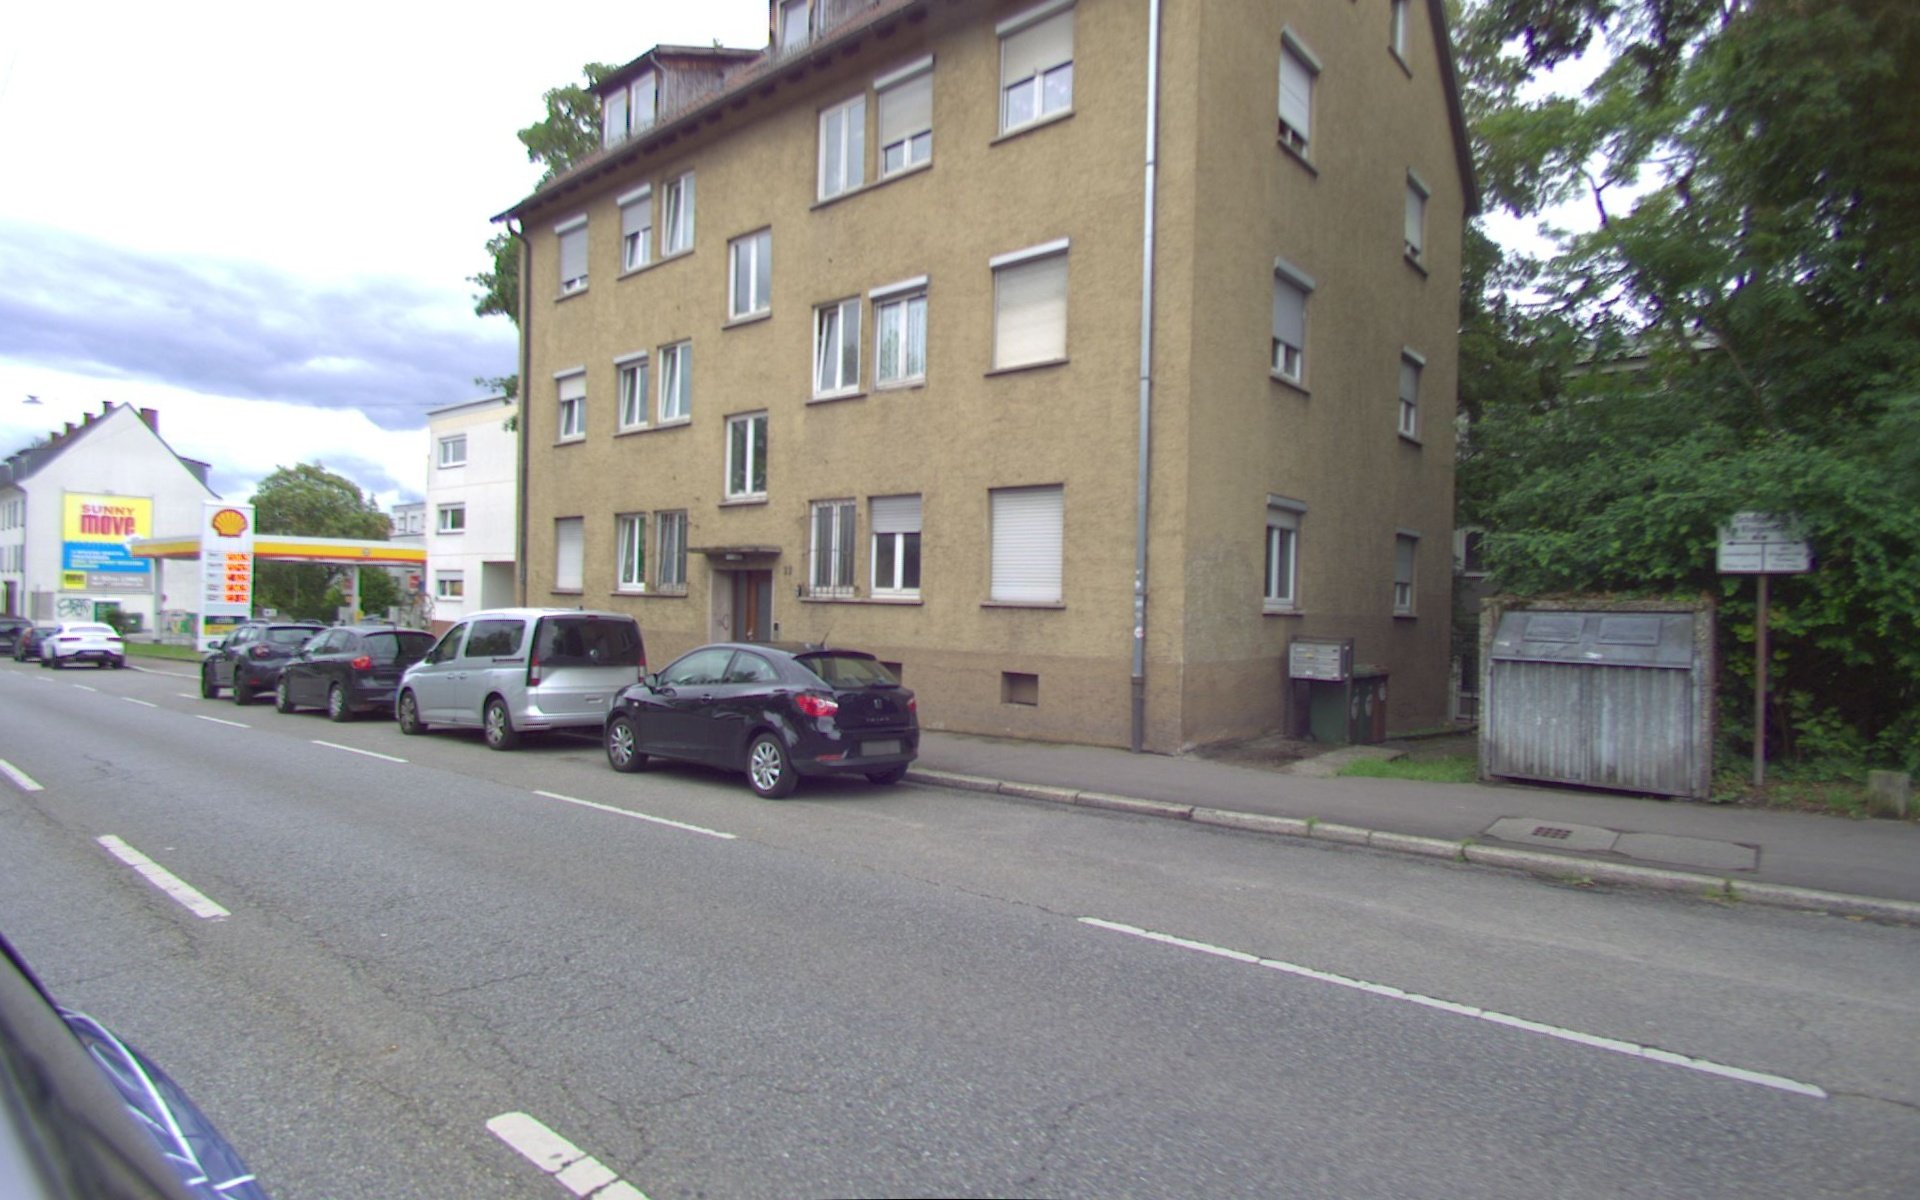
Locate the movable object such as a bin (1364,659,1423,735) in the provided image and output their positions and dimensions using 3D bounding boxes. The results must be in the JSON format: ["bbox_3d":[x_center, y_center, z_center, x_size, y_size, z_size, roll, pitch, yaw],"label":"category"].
[{"bbox_3d":[5.915,1.308,13.798,0.579,0.981,0.602,-1,-2,41],"label":"movable object such as a bin"}]

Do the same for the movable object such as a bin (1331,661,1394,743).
[{"bbox_3d":[5.121,1.282,12.880,0.579,0.981,0.602,-1,-2,41],"label":"movable object such as a bin"}]

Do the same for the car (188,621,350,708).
[{"bbox_3d":[-14.420,1.295,21.026,4.263,1.621,1.764,-2,-4,42],"label":"car"}]

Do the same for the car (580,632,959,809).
[{"bbox_3d":[-2.057,1.072,10.345,3.911,1.450,1.727,-1,-3,41],"label":"car"}]

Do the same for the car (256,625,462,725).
[{"bbox_3d":[-10.488,1.227,17.563,4.094,1.542,1.734,-1,-3,39],"label":"car"}]

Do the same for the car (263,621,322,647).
[{"bbox_3d":[-39.108,1.969,59.230,4.414,1.431,1.779,-2,-1,41],"label":"car"}]

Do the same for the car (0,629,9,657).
[{"bbox_3d":[-50.934,2.221,52.589,4.215,1.461,1.772,-2,-3,41],"label":"car"}]

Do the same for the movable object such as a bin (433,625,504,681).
[{"bbox_3d":[-13.183,1.400,27.144,1.277,1.439,1.269,-2,-1,36],"label":"movable object such as a bin"}]

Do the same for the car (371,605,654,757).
[{"bbox_3d":[-6.265,1.014,13.919,4.554,1.767,1.758,-1,-3,41],"label":"car"}]

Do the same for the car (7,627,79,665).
[{"bbox_3d":[-37.674,1.871,41.534,4.743,1.442,1.778,-2,-3,43],"label":"car"}]

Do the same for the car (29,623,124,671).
[{"bbox_3d":[-30.999,1.614,35.462,4.698,1.589,1.895,-2,-3,42],"label":"car"}]

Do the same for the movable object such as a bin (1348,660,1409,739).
[{"bbox_3d":[5.517,1.299,13.340,0.579,0.981,0.602,-1,-2,41],"label":"movable object such as a bin"}]

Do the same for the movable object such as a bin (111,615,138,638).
[{"bbox_3d":[-58.299,1.868,70.627,1.104,1.550,1.252,-2,-4,40],"label":"movable object such as a bin"}]

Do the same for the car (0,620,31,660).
[{"bbox_3d":[-46.670,1.924,48.972,4.697,1.849,1.833,-2,-3,39],"label":"car"}]
